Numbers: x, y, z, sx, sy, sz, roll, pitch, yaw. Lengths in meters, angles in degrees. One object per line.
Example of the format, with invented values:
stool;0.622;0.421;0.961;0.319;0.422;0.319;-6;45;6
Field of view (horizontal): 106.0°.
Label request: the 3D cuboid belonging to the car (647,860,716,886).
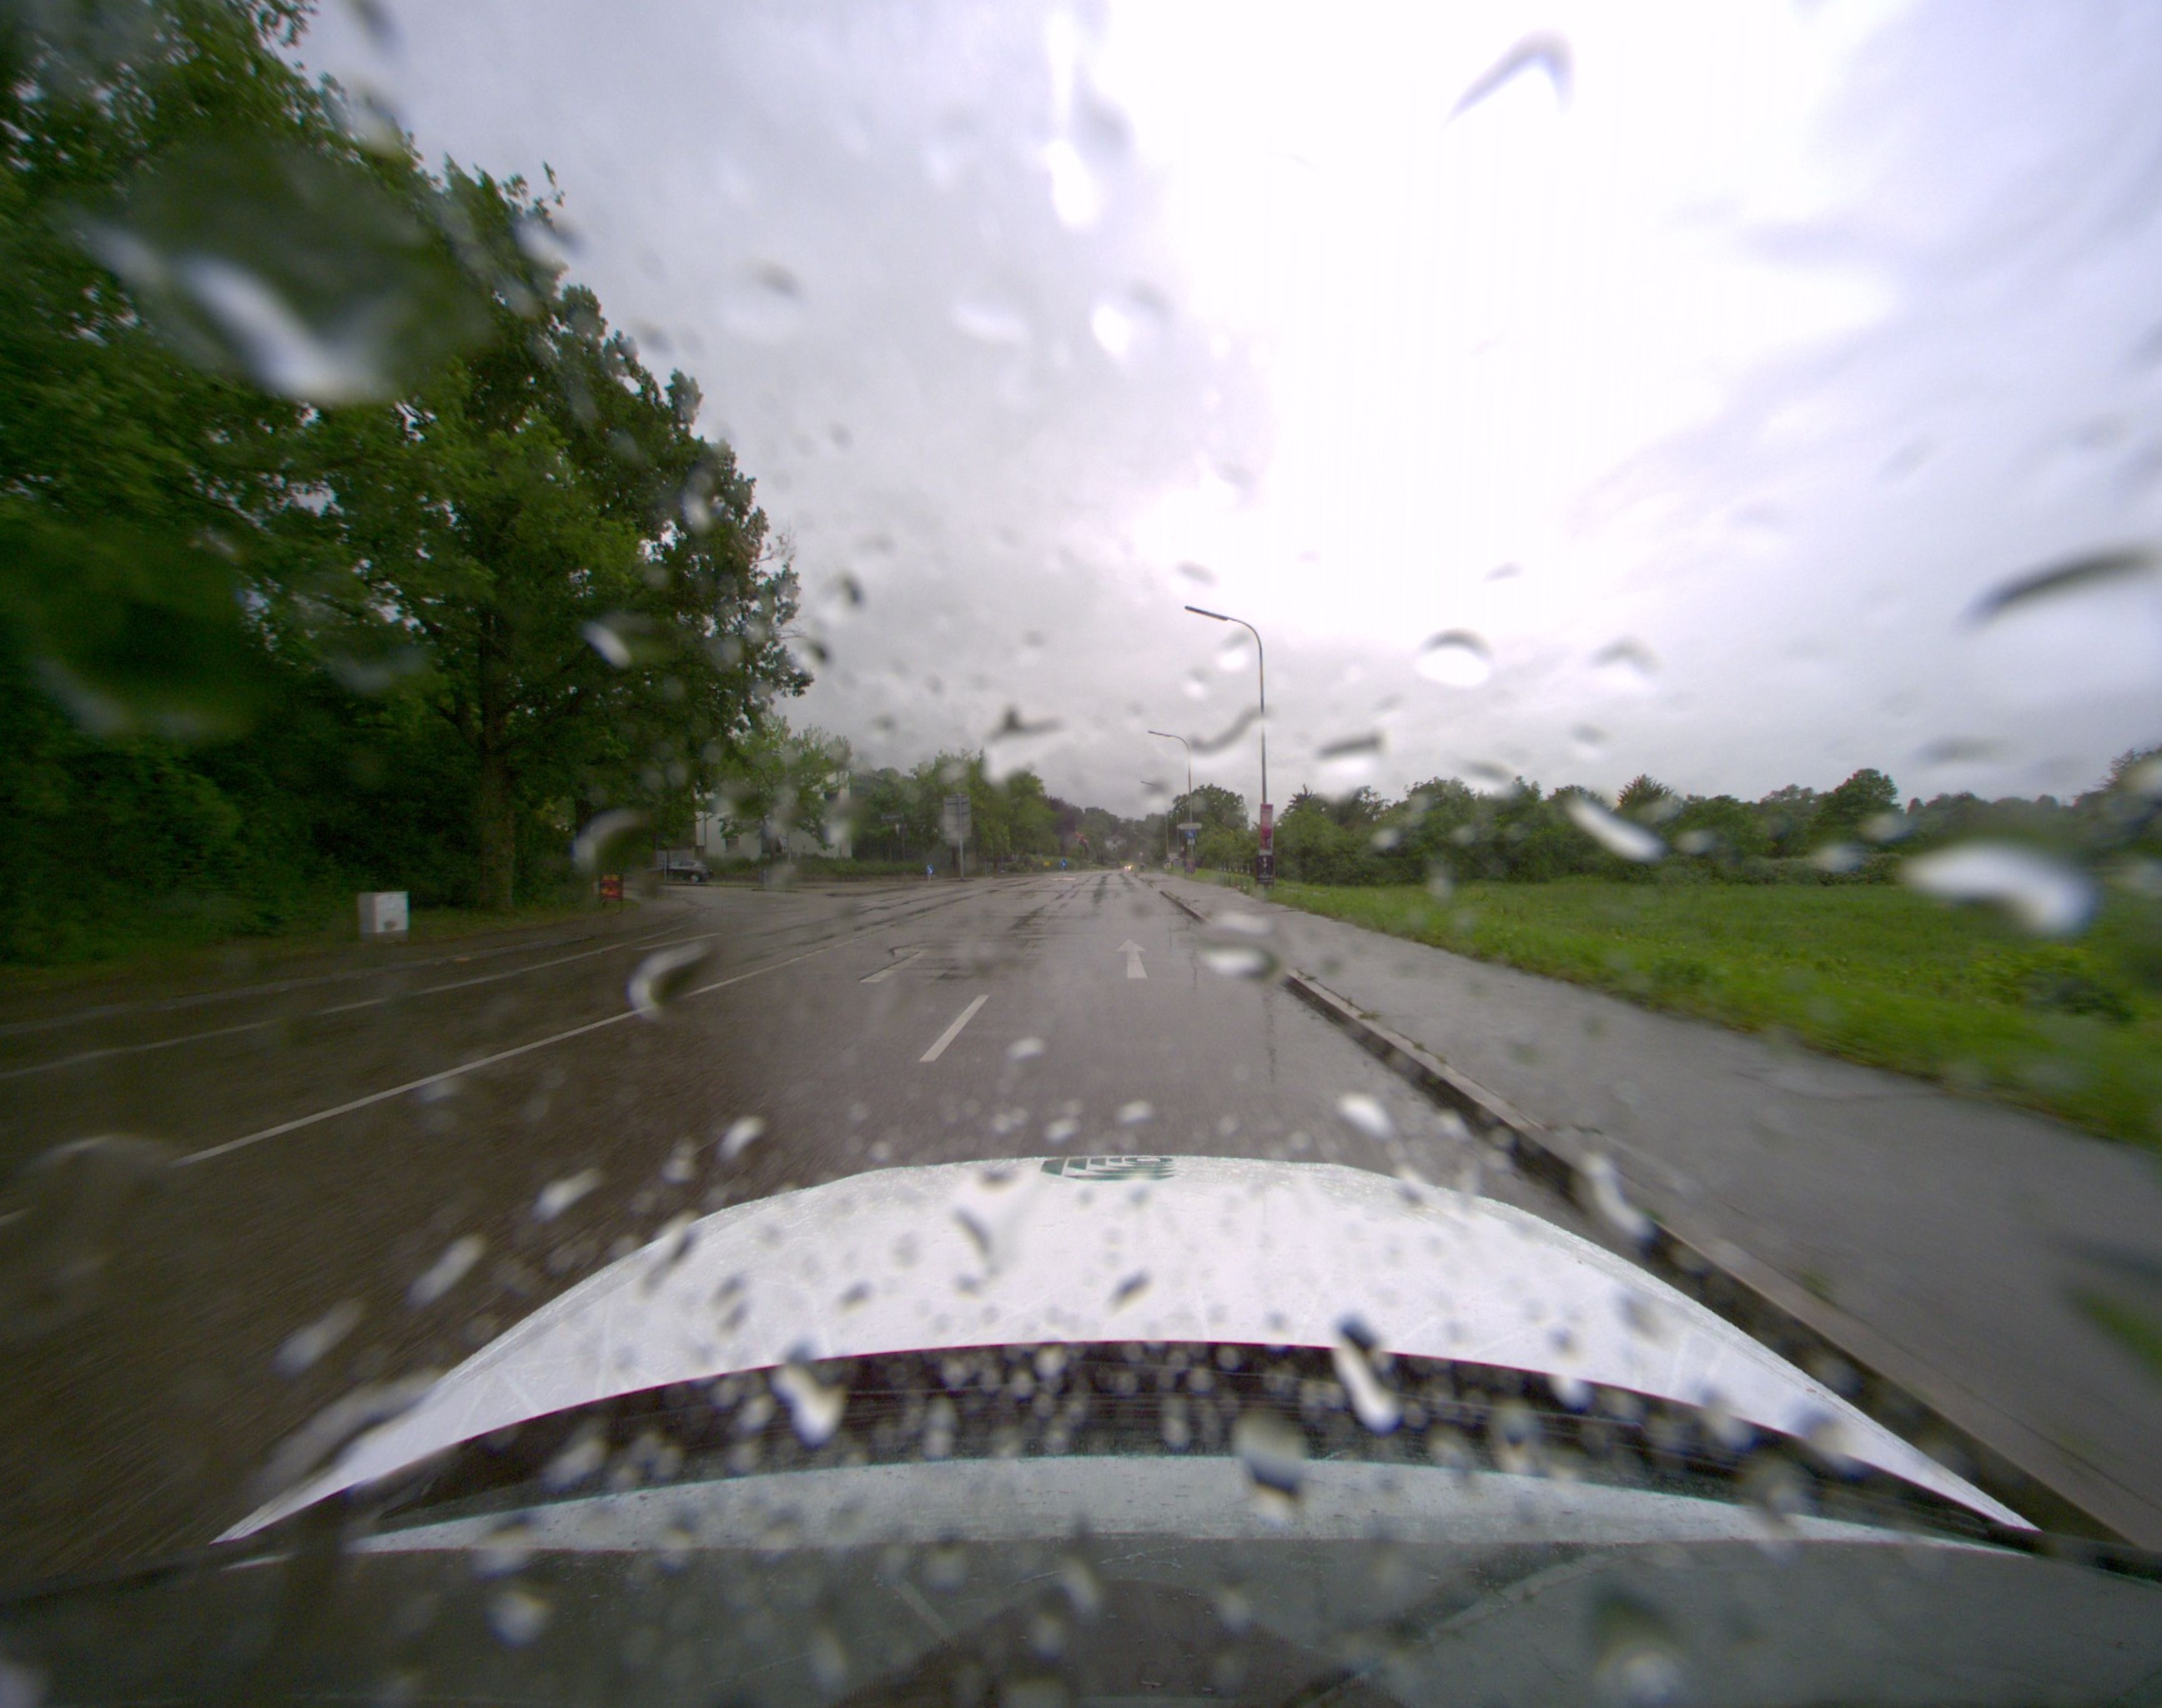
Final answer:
car;-28.312;1.347;57.814;3.988;1.762;1.794;-1;0;-11
